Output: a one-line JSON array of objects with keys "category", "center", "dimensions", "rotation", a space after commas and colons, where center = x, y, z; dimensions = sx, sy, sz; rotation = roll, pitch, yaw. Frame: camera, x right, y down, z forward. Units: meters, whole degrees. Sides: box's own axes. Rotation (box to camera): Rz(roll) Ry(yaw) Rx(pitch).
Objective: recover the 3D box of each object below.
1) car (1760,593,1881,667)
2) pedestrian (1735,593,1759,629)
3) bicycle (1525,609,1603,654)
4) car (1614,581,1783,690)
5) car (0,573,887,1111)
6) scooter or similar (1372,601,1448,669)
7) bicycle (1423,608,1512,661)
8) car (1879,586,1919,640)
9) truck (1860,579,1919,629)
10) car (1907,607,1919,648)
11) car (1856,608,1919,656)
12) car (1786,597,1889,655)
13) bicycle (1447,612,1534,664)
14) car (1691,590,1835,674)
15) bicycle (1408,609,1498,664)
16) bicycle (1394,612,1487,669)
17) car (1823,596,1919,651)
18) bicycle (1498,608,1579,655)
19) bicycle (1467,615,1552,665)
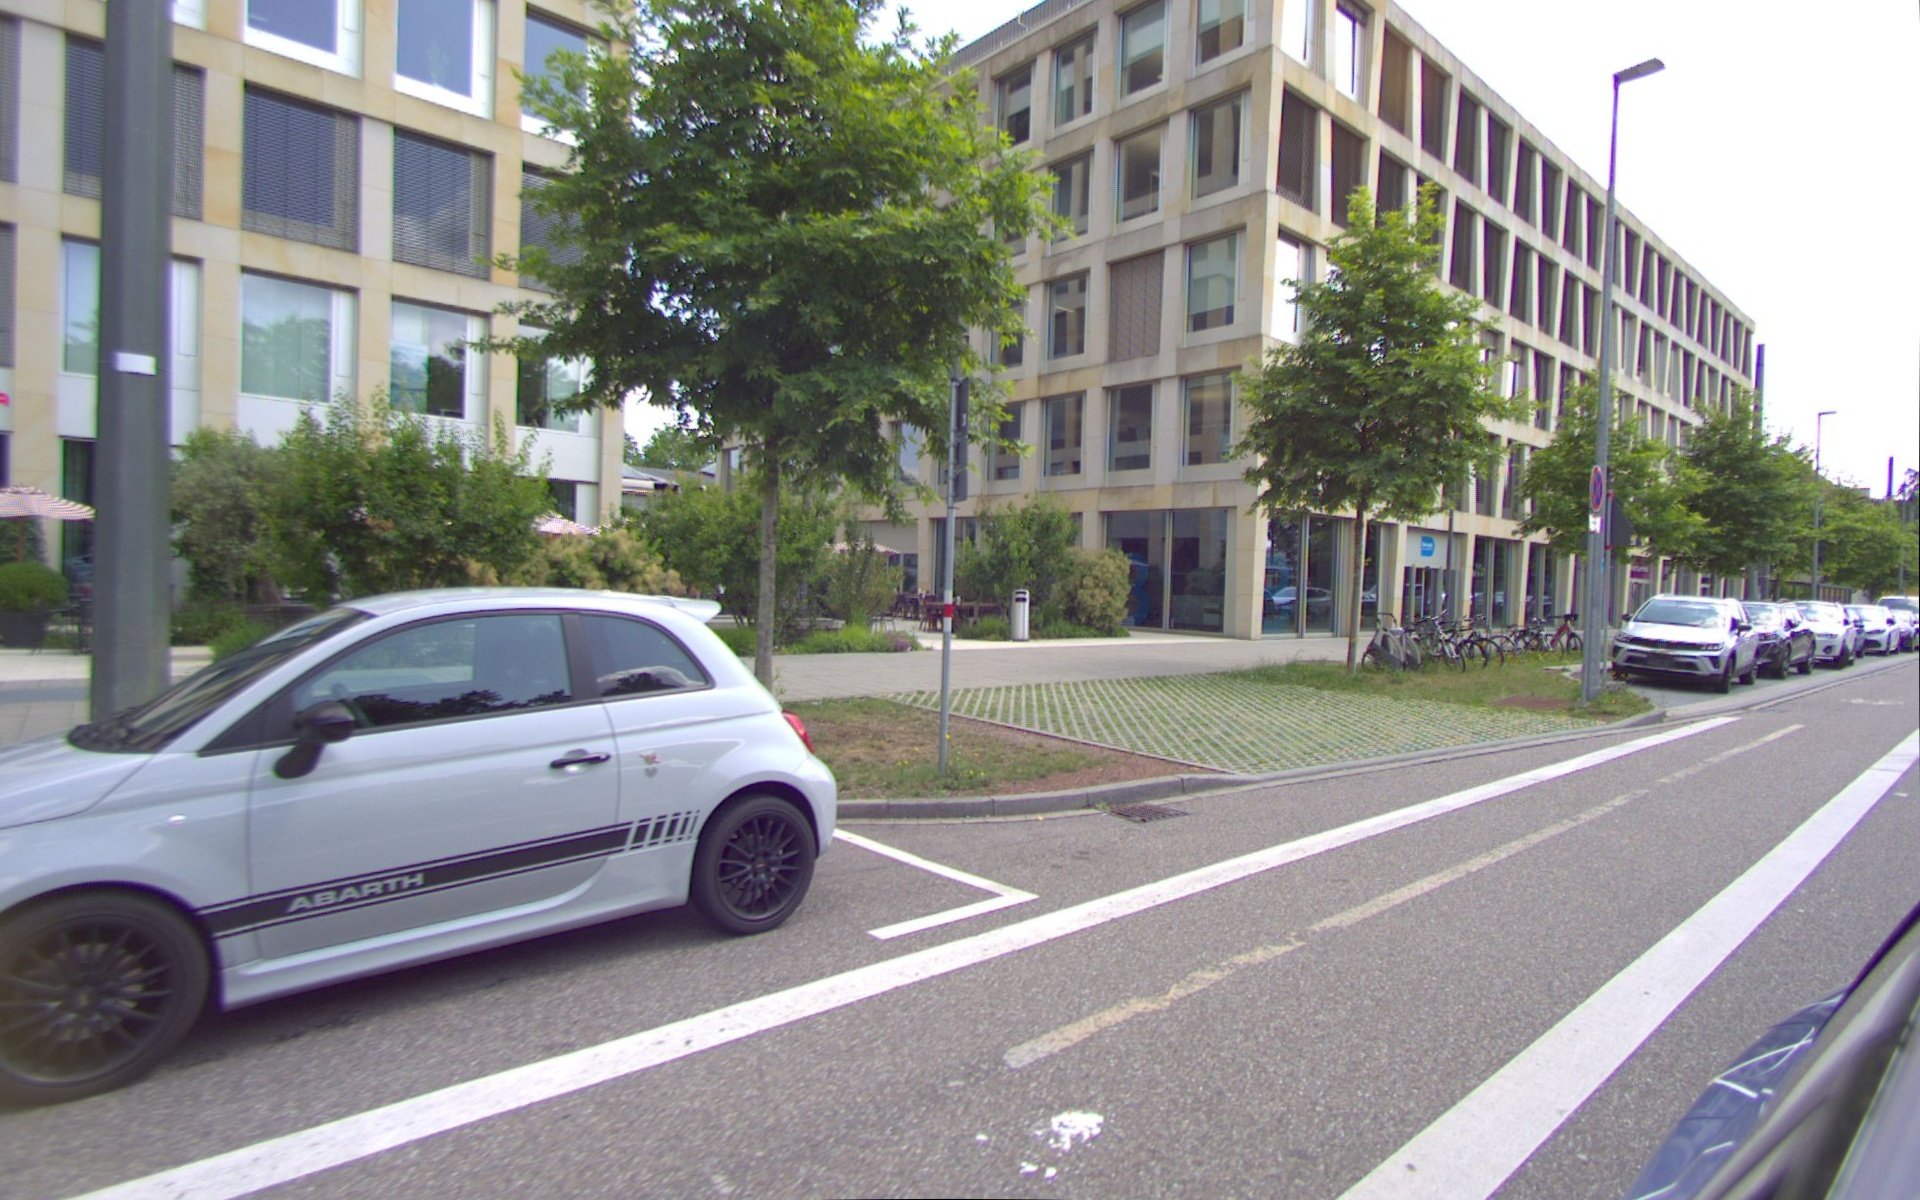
[{"category": "car", "center": [21.698, 0.711, 25.474], "dimensions": [4.079, 1.625, 1.689], "rotation": [1, 3, -41]}, {"category": "pedestrian", "center": [35.322, 0.508, 45.410], "dimensions": [0.889, 1.571, 0.638], "rotation": [1, 1, -41]}, {"category": "bicycle", "center": [14.294, 0.735, 23.977], "dimensions": [0.496, 0.928, 1.500], "rotation": [-2, 4, -38]}, {"category": "car", "center": [13.420, 0.577, 18.320], "dimensions": [3.923, 1.653, 1.688], "rotation": [1, 4, -43]}, {"category": "car", "center": [-2.216, 0.671, 4.179], "dimensions": [3.548, 1.479, 1.594], "rotation": [1, 0, -40]}, {"category": "scooter or similar", "center": [8.307, 0.625, 18.698], "dimensions": [0.705, 1.190, 1.054], "rotation": [1, 1, -37]}, {"category": "bicycle", "center": [10.055, 0.662, 20.075], "dimensions": [0.496, 0.928, 1.500], "rotation": [-2, 4, -38]}, {"category": "car", "center": [37.415, 0.540, 39.340], "dimensions": [4.758, 1.963, 1.886], "rotation": [1, 3, -41]}, {"category": "truck", "center": [59.163, 0.316, 61.169], "dimensions": [2.413, 2.902, 6.816], "rotation": [1, 2, -43]}, {"category": "car", "center": [41.687, 1.196, 42.944], "dimensions": [4.448, 1.660, 1.725], "rotation": [1, 3, -41]}, {"category": "car", "center": [33.374, 1.092, 35.841], "dimensions": [4.483, 1.505, 1.886], "rotation": [1, 3, -41]}, {"category": "car", "center": [25.552, 0.721, 29.433], "dimensions": [3.881, 1.475, 1.689], "rotation": [1, 3, -41]}, {"category": "bicycle", "center": [10.789, 0.754, 20.629], "dimensions": [0.496, 0.928, 1.500], "rotation": [-2, 4, -38]}, {"category": "car", "center": [17.326, 0.645, 21.778], "dimensions": [3.858, 1.567, 1.689], "rotation": [1, 3, -41]}, {"category": "bicycle", "center": [9.473, 0.688, 19.491], "dimensions": [0.496, 0.928, 1.500], "rotation": [-2, 4, -38]}, {"category": "bicycle", "center": [8.951, 0.730, 18.895], "dimensions": [0.496, 0.928, 1.500], "rotation": [-2, 4, -38]}, {"category": "car", "center": [29.360, 0.734, 32.558], "dimensions": [4.086, 1.548, 1.796], "rotation": [1, 3, -41]}, {"category": "bicycle", "center": [12.902, 0.692, 22.605], "dimensions": [0.496, 0.928, 1.500], "rotation": [-2, 4, -38]}, {"category": "bicycle", "center": [11.618, 0.833, 21.443], "dimensions": [0.496, 0.928, 1.500], "rotation": [-2, 4, -38]}]
